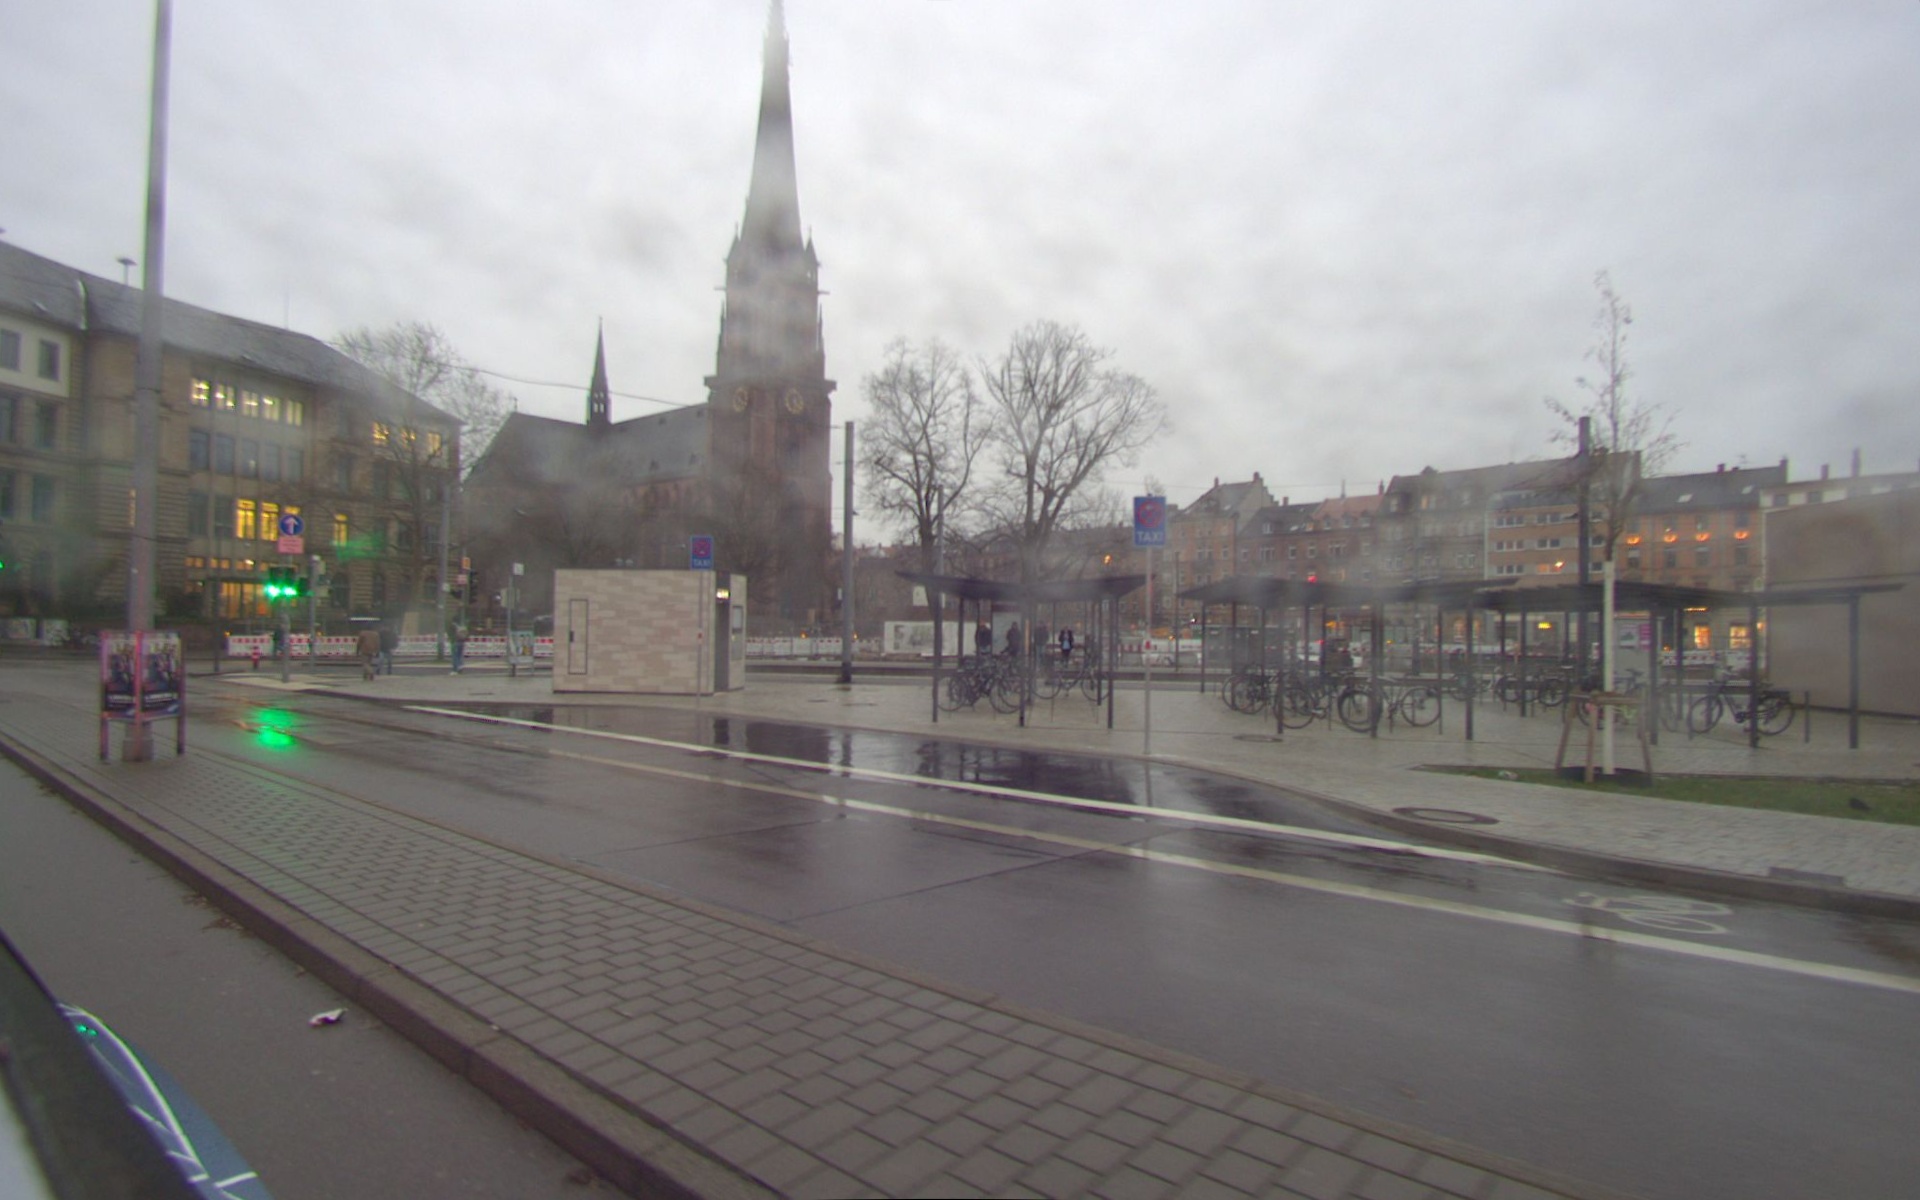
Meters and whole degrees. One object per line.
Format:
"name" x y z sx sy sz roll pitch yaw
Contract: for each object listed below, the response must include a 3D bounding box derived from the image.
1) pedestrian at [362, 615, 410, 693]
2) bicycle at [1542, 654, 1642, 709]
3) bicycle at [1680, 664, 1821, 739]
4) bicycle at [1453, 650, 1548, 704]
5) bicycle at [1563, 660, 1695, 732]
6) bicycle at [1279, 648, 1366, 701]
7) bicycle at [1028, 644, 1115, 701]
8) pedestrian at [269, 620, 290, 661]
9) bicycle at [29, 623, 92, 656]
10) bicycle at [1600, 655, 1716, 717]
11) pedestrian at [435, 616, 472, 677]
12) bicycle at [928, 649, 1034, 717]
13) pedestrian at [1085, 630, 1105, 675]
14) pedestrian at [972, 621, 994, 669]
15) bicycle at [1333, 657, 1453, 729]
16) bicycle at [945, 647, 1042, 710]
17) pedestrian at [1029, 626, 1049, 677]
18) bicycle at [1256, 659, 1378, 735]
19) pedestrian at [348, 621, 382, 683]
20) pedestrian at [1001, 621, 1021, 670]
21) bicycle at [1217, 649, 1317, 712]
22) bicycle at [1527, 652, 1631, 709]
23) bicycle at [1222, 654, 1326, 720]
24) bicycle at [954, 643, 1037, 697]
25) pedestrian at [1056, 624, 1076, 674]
"pedestrian" -18.230 1.692 32.147 1.062 2.388 0.984 1 0 37
"bicycle" 14.738 1.897 23.628 1.879 1.174 0.548 1 0 12
"bicycle" 13.490 1.723 17.303 1.875 1.174 0.549 1 0 6
"bicycle" 12.843 1.815 24.089 1.879 1.174 0.548 1 0 12
"bicycle" 11.945 1.695 18.110 1.879 1.174 0.548 1 0 12
"bicycle" 8.683 1.785 24.305 1.879 1.174 0.548 1 0 12
"bicycle" 2.501 1.619 22.652 1.879 1.174 0.548 1 0 12
"pedestrian" -34.342 2.023 51.083 0.730 2.029 0.647 1 0 -19
"bicycle" -47.715 2.076 53.728 2.388 1.701 0.715 0 0 -33
"bicycle" 14.363 1.758 20.857 1.879 1.174 0.548 1 0 12
"pedestrian" -15.785 1.442 31.560 0.821 1.827 0.599 -2 1 28
"bicycle" 0.401 1.557 19.167 1.922 1.174 0.548 1 0 12
"pedestrian" 4.991 1.938 37.498 0.709 1.630 0.713 1 -1 7
"pedestrian" 0.862 1.669 37.848 0.709 1.770 0.713 1 -1 7
"bicycle" 7.717 1.639 18.103 1.879 1.174 0.548 1 0 12
"bicycle" 0.678 1.561 20.305 1.879 1.174 0.548 1 0 12
"pedestrian" 2.925 1.900 37.339 0.709 1.820 0.713 1 -1 7
"bicycle" 6.063 1.632 17.252 1.879 1.174 0.548 1 0 12
"pedestrian" -16.664 1.450 28.374 0.663 1.686 0.732 1 0 -17
"pedestrian" 1.908 1.686 37.715 0.709 1.820 0.713 1 -1 7
"bicycle" 6.259 1.637 20.694 1.879 1.174 0.548 1 0 12
"bicycle" 13.842 1.799 22.660 1.879 1.174 0.548 1 0 12
"bicycle" 6.118 1.682 19.802 1.879 1.174 0.548 1 0 12
"bicycle" 0.847 1.648 24.058 1.879 1.174 0.548 1 0 12
"pedestrian" 3.941 1.810 37.694 0.709 1.820 0.713 1 -1 7
